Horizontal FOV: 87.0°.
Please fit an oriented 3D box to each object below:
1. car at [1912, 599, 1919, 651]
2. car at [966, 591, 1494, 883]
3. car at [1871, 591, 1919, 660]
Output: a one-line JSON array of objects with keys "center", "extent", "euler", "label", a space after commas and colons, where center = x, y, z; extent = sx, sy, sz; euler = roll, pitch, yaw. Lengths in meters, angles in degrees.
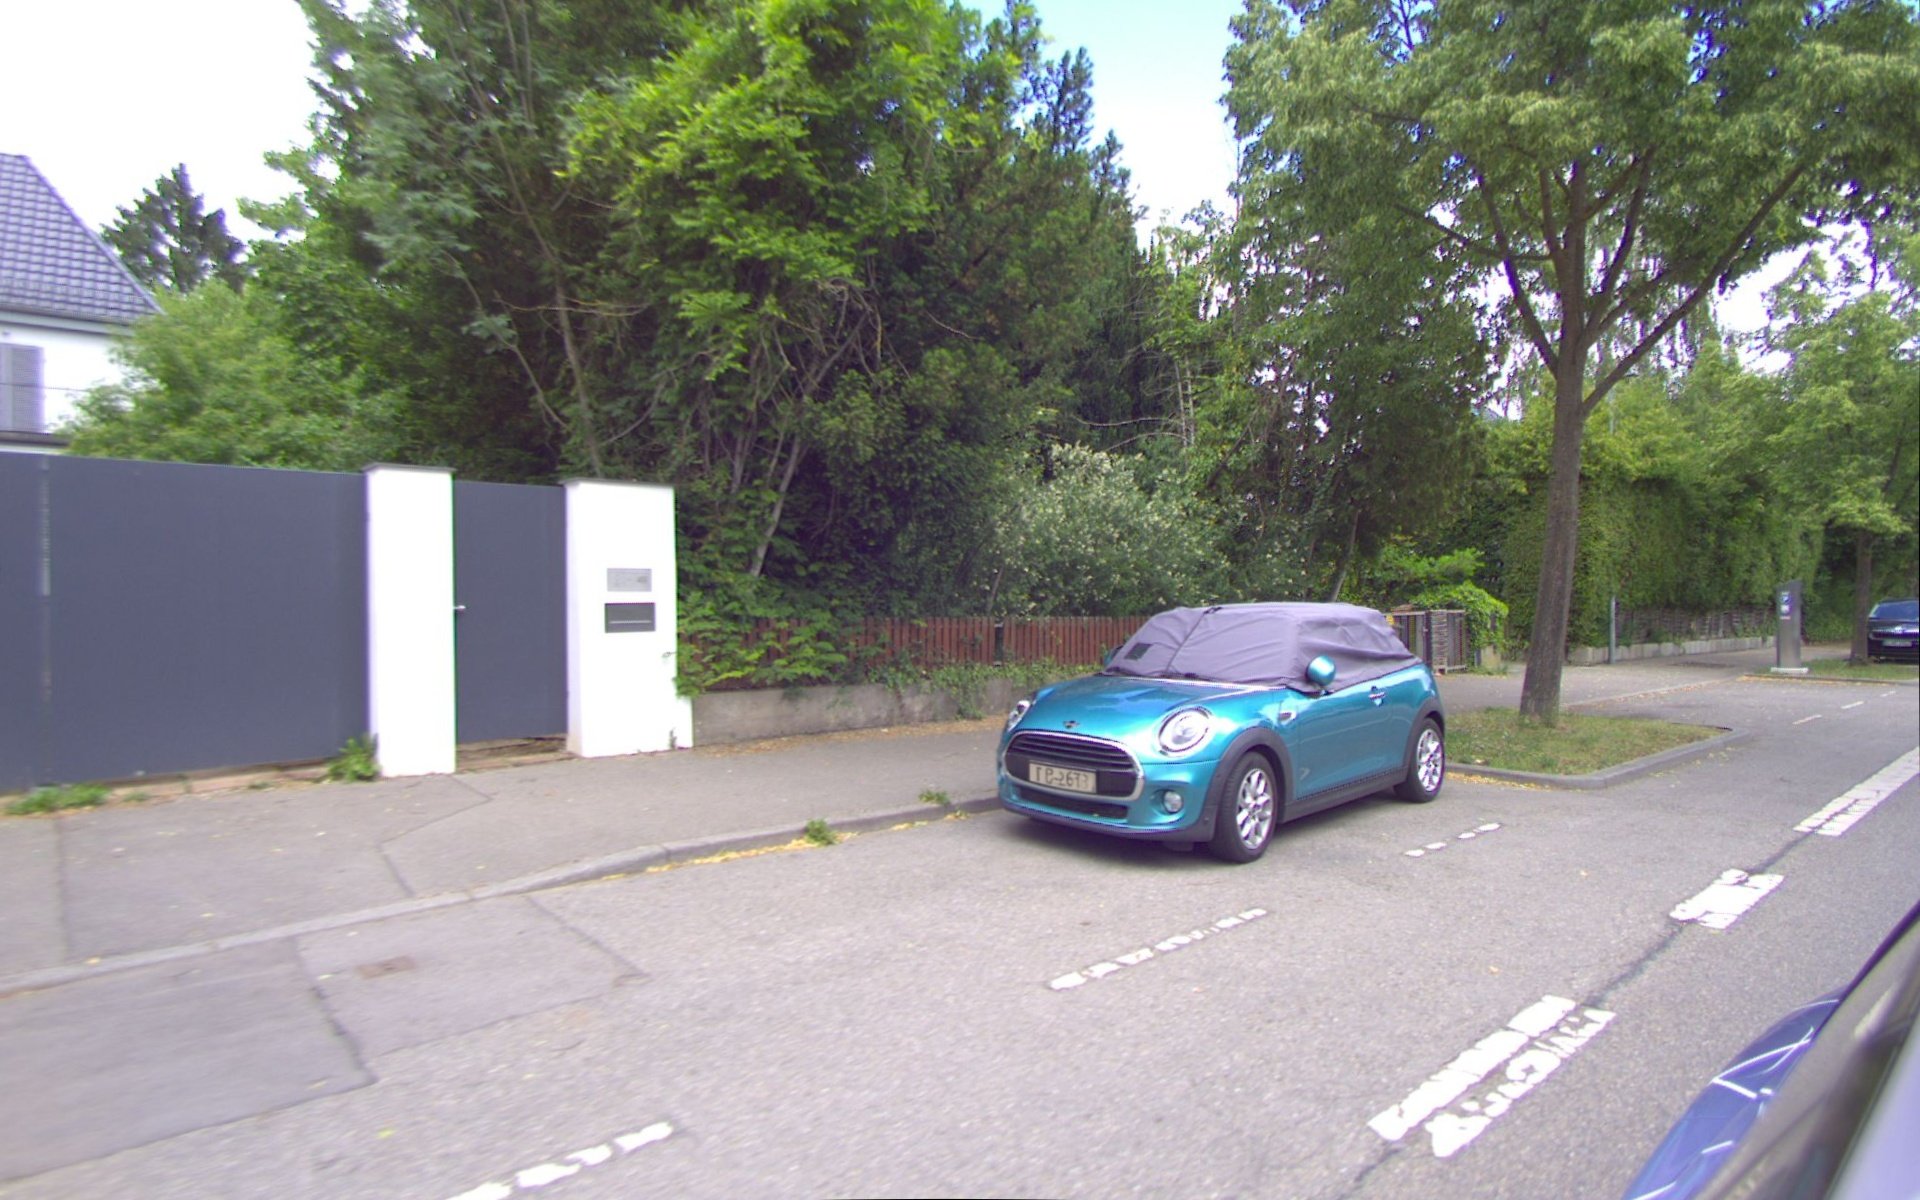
[{"center": [28.682, 0.692, 28.781], "extent": [3.925, 1.438, 1.643], "euler": [0, 0, -36], "label": "car"}, {"center": [2.061, 0.673, 6.999], "extent": [3.976, 1.450, 1.685], "euler": [0, 0, -43], "label": "car"}, {"center": [24.208, 0.602, 25.259], "extent": [4.095, 1.636, 1.641], "euler": [0, 0, -40], "label": "car"}]
